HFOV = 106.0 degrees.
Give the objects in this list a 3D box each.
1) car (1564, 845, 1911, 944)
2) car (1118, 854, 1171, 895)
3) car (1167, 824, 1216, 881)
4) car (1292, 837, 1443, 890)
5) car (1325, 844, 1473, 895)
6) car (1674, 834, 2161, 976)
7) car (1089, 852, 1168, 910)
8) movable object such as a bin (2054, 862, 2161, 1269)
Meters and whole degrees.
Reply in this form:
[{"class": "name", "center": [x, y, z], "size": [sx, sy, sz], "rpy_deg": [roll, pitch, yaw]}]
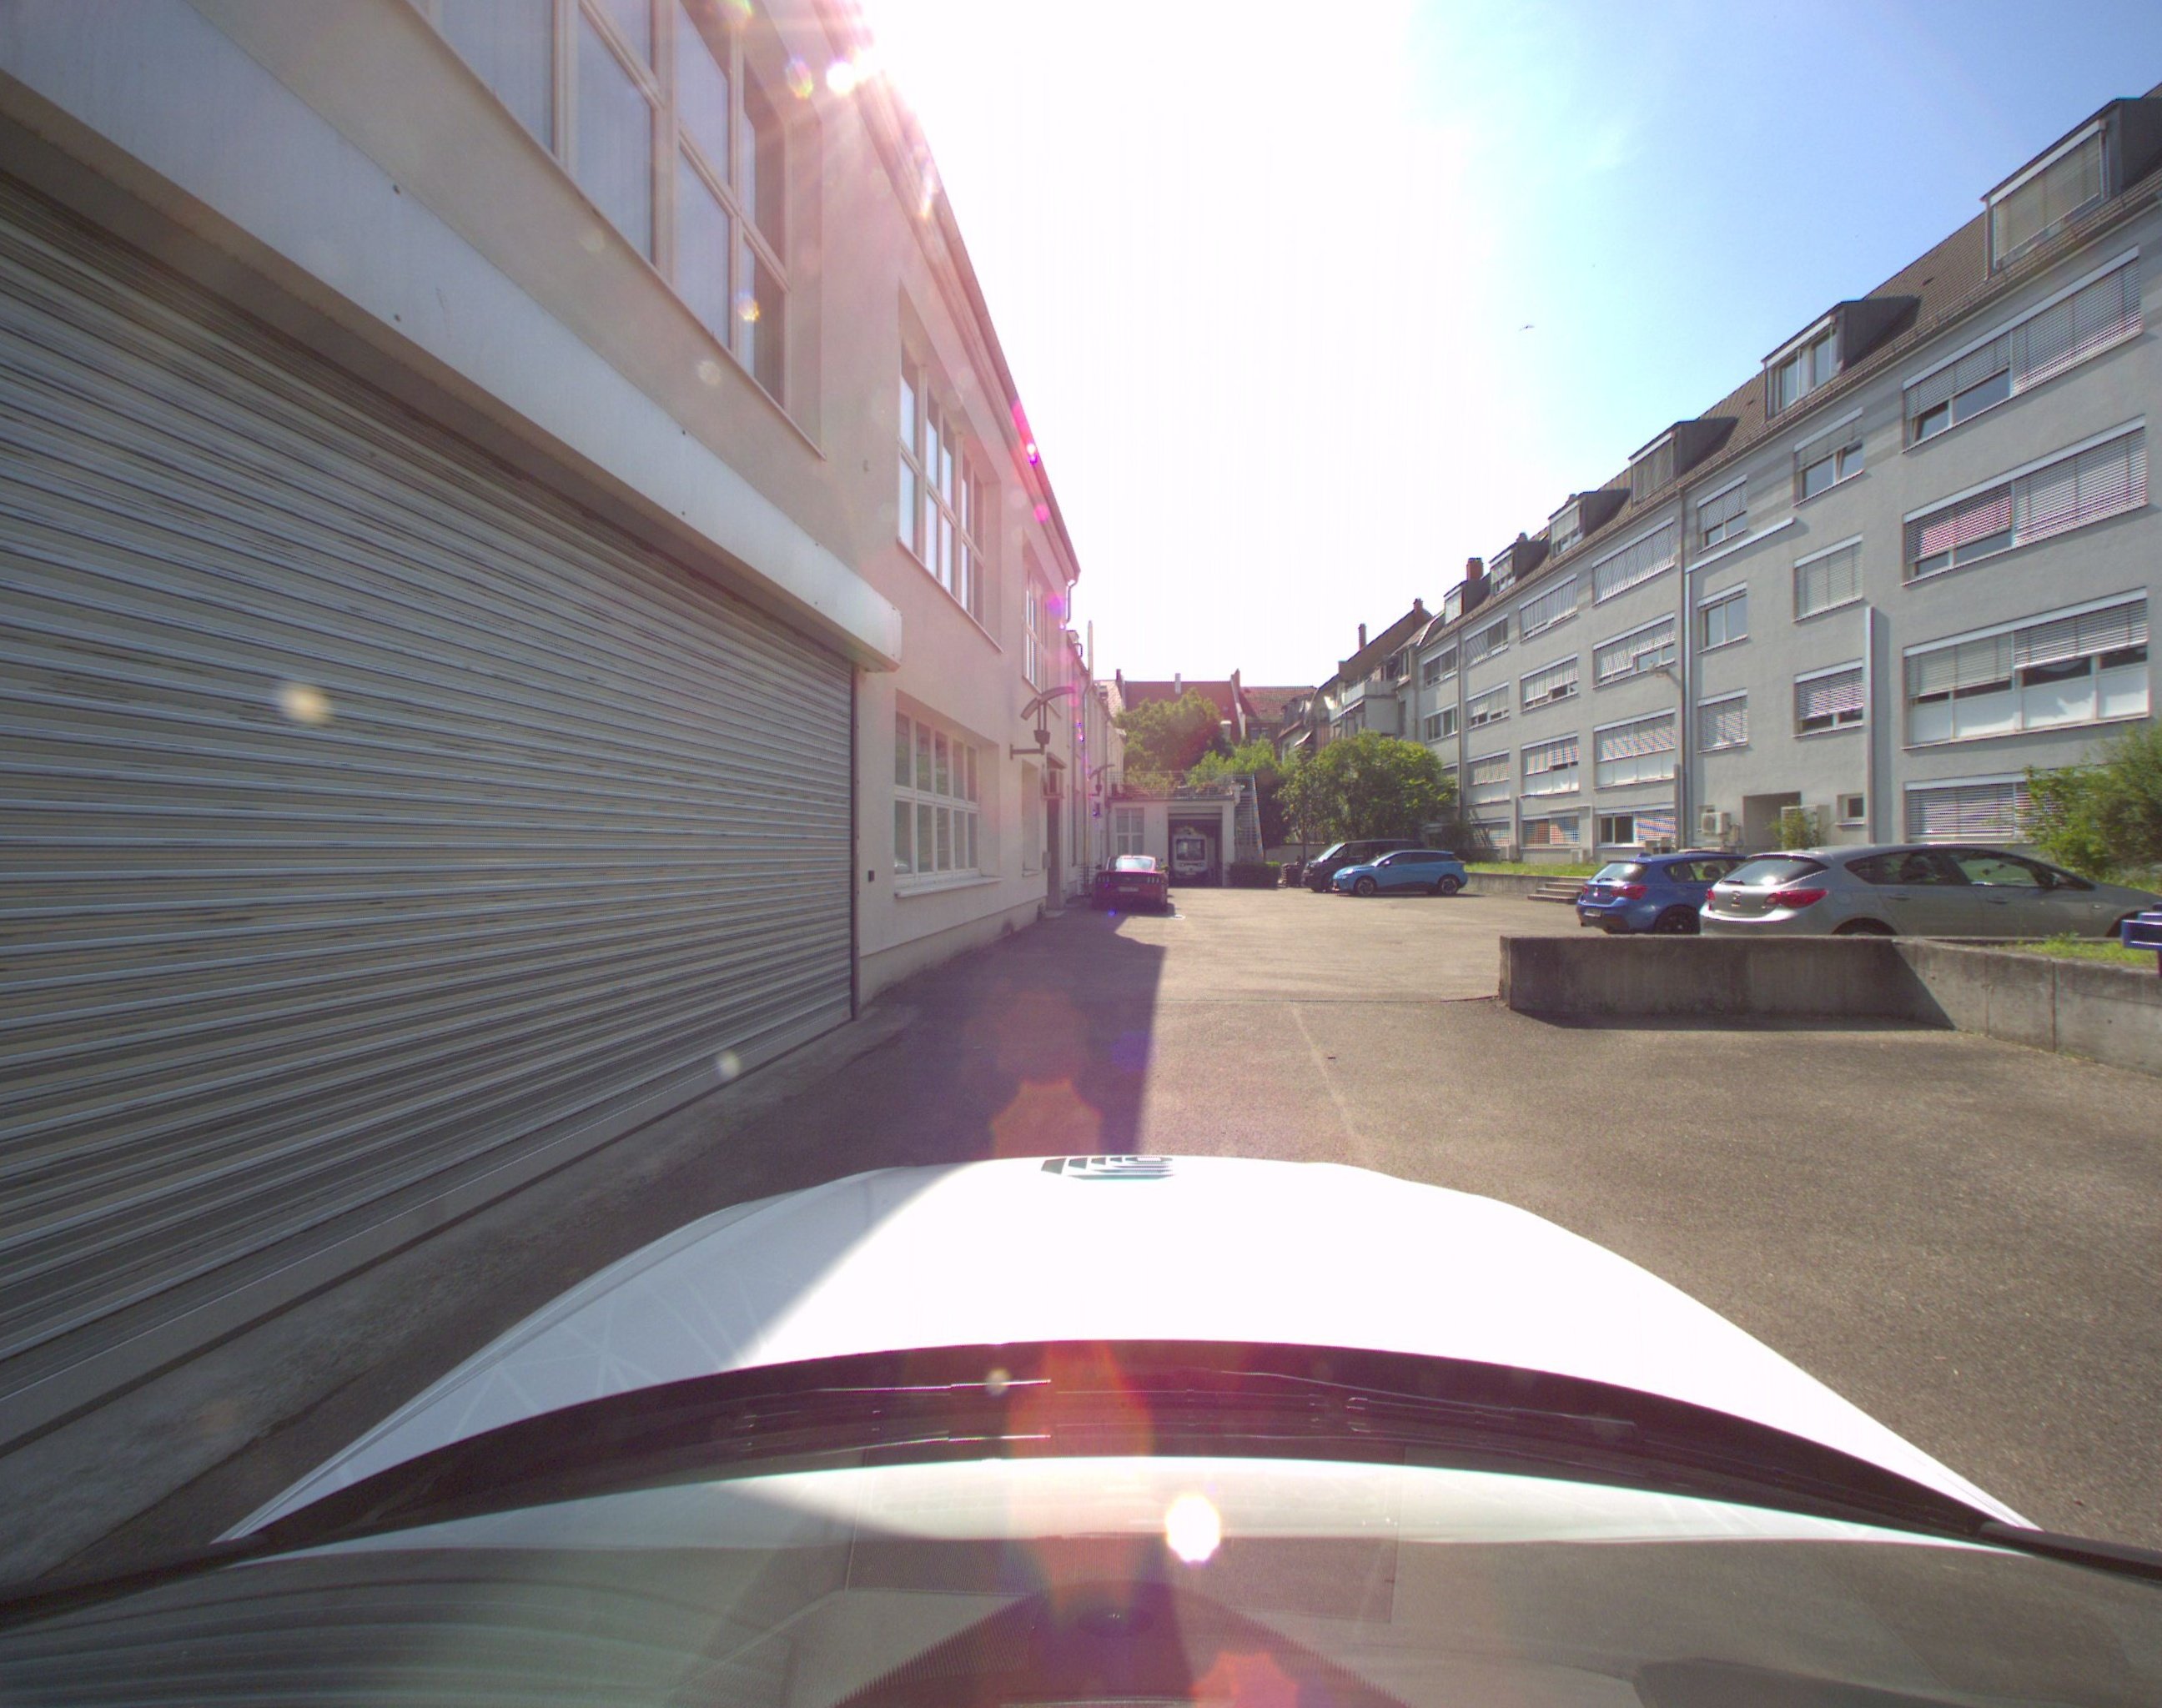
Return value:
[{"class": "car", "center": [10.099, 0.598, 12.803], "size": [3.966, 1.394, 1.692], "rpy_deg": [-1, 0, 6]}, {"class": "car", "center": [2.271, 0.661, 28.238], "size": [1.605, 1.295, 3.767], "rpy_deg": [-1, 0, 7]}, {"class": "car", "center": [5.539, -0.056, 40.987], "size": [2.162, 2.607, 6.748], "rpy_deg": [-1, 0, 8]}, {"class": "car", "center": [10.745, 0.322, 30.721], "size": [4.944, 1.767, 2.093], "rpy_deg": [-2, 1, -6]}, {"class": "car", "center": [10.620, 0.508, 27.455], "size": [4.210, 1.532, 2.002], "rpy_deg": [-1, 1, 3]}, {"class": "car", "center": [9.544, 0.539, 9.442], "size": [3.969, 1.427, 1.814], "rpy_deg": [-1, 0, 4]}, {"class": "car", "center": [1.356, 0.644, 21.476], "size": [1.842, 1.319, 4.007], "rpy_deg": [1, 0, 6]}, {"class": "movable object such as a bin", "center": [4.214, 0.705, 2.434], "size": [1.241, 1.355, 1.130], "rpy_deg": [-1, 0, 4]}]
